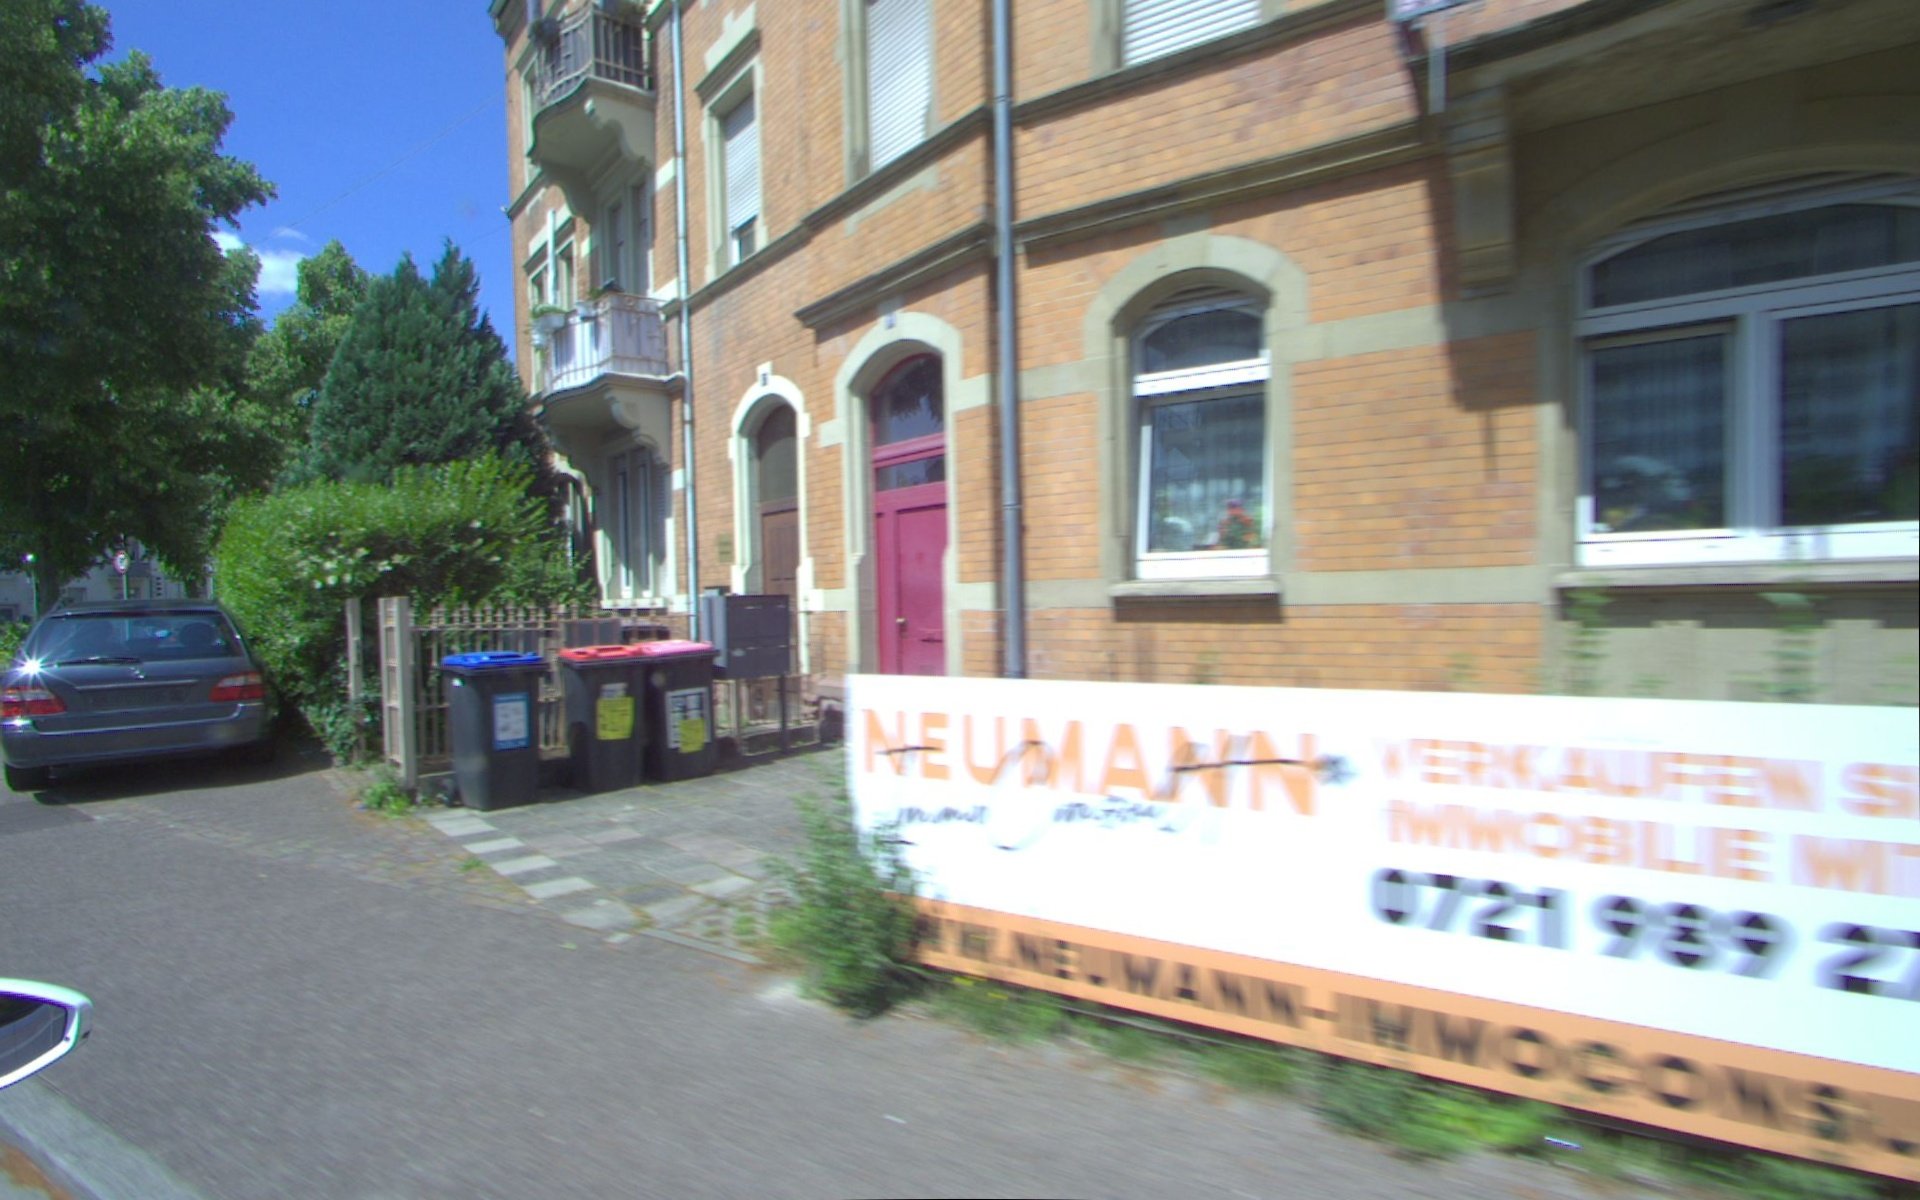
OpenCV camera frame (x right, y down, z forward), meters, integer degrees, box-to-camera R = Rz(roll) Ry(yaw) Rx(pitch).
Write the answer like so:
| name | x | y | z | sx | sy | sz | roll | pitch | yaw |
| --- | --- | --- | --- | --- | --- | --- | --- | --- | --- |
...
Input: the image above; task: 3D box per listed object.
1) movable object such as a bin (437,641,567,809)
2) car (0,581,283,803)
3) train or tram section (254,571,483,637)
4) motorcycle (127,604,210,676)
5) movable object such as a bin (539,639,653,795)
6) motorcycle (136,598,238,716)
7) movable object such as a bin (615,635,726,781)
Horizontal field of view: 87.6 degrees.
| name | x | y | z | sx | sy | sz | roll | pitch | yaw |
| --- | --- | --- | --- | --- | --- | --- | --- | --- | --- |
| movable object such as a bin | -3.266 | 0.856 | 7.148 | 0.630 | 1.086 | 0.645 | 0 | 1 | 42 |
| car | -7.817 | 0.611 | 9.648 | 1.818 | 1.569 | 5.115 | -2 | 2 | -37 |
| train or tram section | -36.302 | 0.239 | 62.719 | 2.768 | 3.615 | 14.157 | -1 | 0 | 17 |
| motorcycle | -15.628 | 0.759 | 19.835 | 0.905 | 1.330 | 2.214 | 0 | 0 | -28 |
| movable object such as a bin | -2.780 | 0.860 | 7.646 | 0.697 | 1.086 | 0.549 | 0 | 1 | 42 |
| motorcycle | -9.875 | 0.667 | 12.862 | 0.921 | 1.320 | 2.263 | -2 | 2 | -36 |
| movable object such as a bin | -2.330 | 0.836 | 8.053 | 0.697 | 1.086 | 0.572 | 0 | 1 | 42 |
